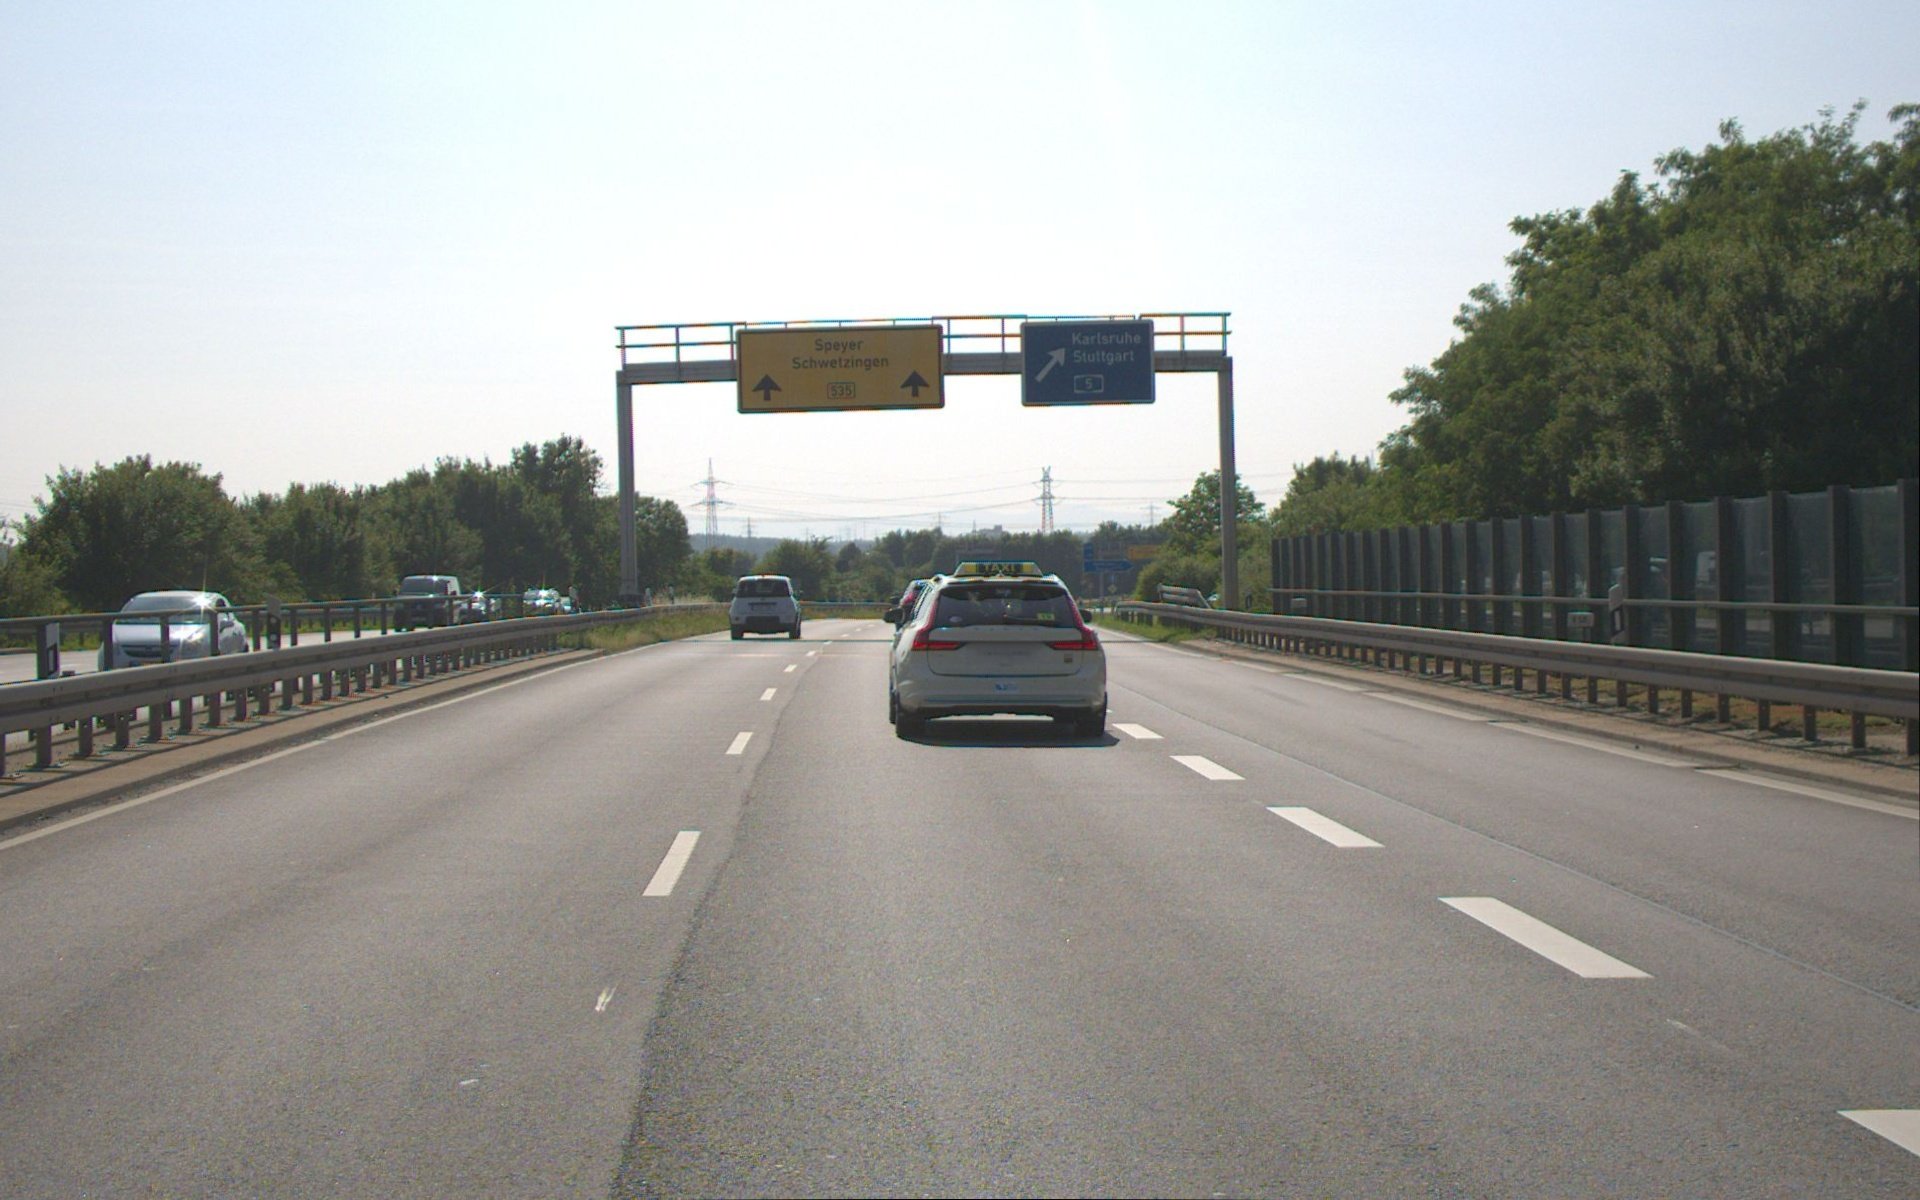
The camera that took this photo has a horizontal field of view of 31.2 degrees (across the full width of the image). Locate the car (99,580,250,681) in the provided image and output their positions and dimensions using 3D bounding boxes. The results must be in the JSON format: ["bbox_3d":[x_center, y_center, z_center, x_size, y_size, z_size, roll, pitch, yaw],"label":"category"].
[{"bbox_3d":[-11.667,0.431,51.235,1.551,1.412,3.669,1,1,-3],"label":"car"}]

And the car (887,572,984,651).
[{"bbox_3d":[-0.516,0.228,68.903,1.793,1.538,3.672,0,0,-3],"label":"car"}]

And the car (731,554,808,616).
[{"bbox_3d":[-4.645,-0.357,84.281,1.793,1.498,4.043,0,0,-2],"label":"car"}]

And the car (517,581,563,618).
[{"bbox_3d":[-18.853,-0.036,154.505,1.732,1.612,4.003,0,1,-2],"label":"car"}]

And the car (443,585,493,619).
[{"bbox_3d":[-19.304,0.065,134.883,1.566,1.265,3.716,0,1,-2],"label":"car"}]

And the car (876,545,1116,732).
[{"bbox_3d":[0.260,0.301,31.647,1.958,1.596,4.107,1,1,-3],"label":"car"}]

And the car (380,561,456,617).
[{"bbox_3d":[-19.019,-0.390,120.883,1.993,1.899,4.418,-1,0,0],"label":"car"}]
